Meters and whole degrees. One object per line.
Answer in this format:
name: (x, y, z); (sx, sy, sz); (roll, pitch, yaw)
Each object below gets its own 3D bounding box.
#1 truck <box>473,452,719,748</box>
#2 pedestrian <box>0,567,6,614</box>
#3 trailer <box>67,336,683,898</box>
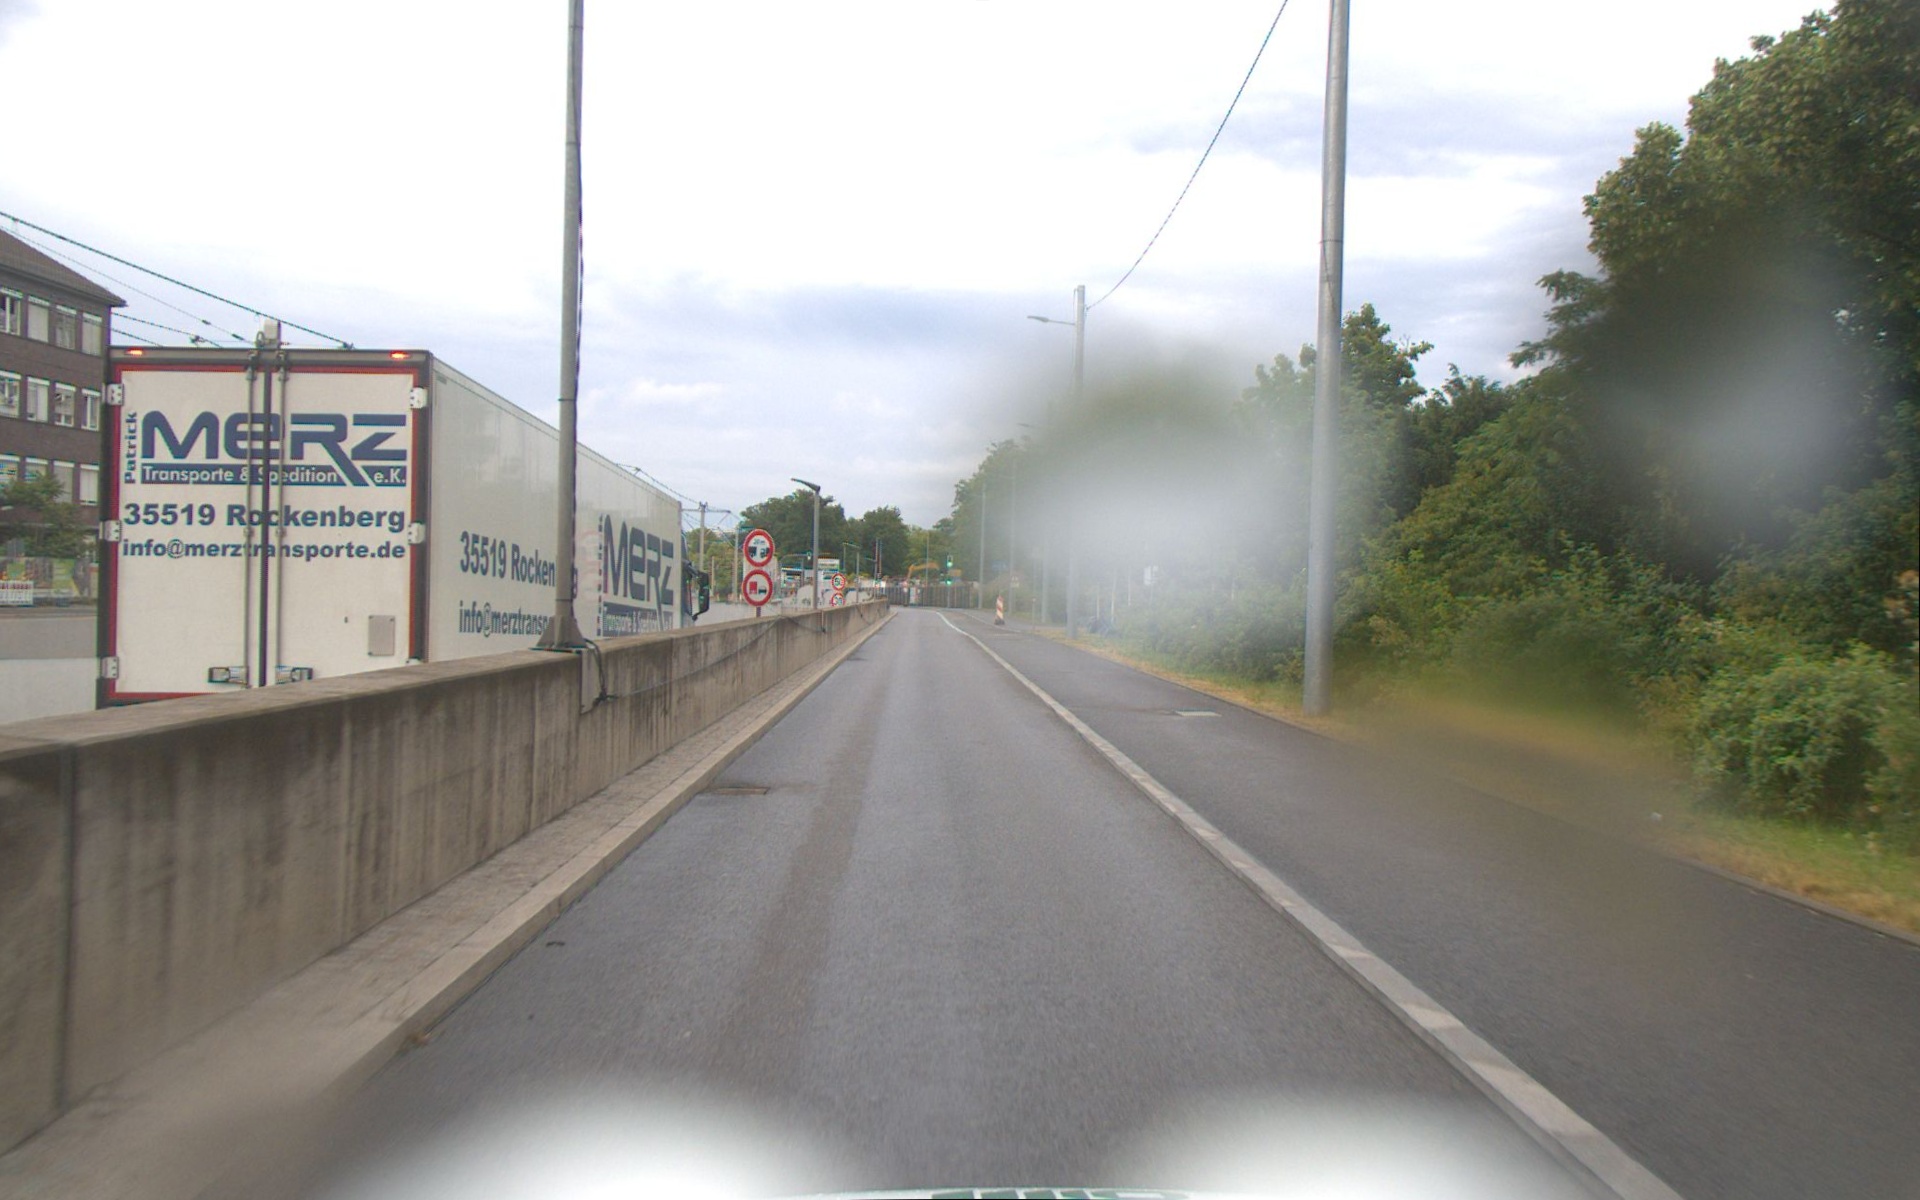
truck: (-5.757, -0.034, 27.228); (2.700, 4.278, 6.305); (-1, 1, -1)
pedestrian: (-36.980, -0.357, 63.135); (0.602, 1.781, 0.839); (1, 0, -1)
trailer: (-5.634, 0.048, 19.426); (2.706, 4.327, 13.181); (-1, 1, -1)
